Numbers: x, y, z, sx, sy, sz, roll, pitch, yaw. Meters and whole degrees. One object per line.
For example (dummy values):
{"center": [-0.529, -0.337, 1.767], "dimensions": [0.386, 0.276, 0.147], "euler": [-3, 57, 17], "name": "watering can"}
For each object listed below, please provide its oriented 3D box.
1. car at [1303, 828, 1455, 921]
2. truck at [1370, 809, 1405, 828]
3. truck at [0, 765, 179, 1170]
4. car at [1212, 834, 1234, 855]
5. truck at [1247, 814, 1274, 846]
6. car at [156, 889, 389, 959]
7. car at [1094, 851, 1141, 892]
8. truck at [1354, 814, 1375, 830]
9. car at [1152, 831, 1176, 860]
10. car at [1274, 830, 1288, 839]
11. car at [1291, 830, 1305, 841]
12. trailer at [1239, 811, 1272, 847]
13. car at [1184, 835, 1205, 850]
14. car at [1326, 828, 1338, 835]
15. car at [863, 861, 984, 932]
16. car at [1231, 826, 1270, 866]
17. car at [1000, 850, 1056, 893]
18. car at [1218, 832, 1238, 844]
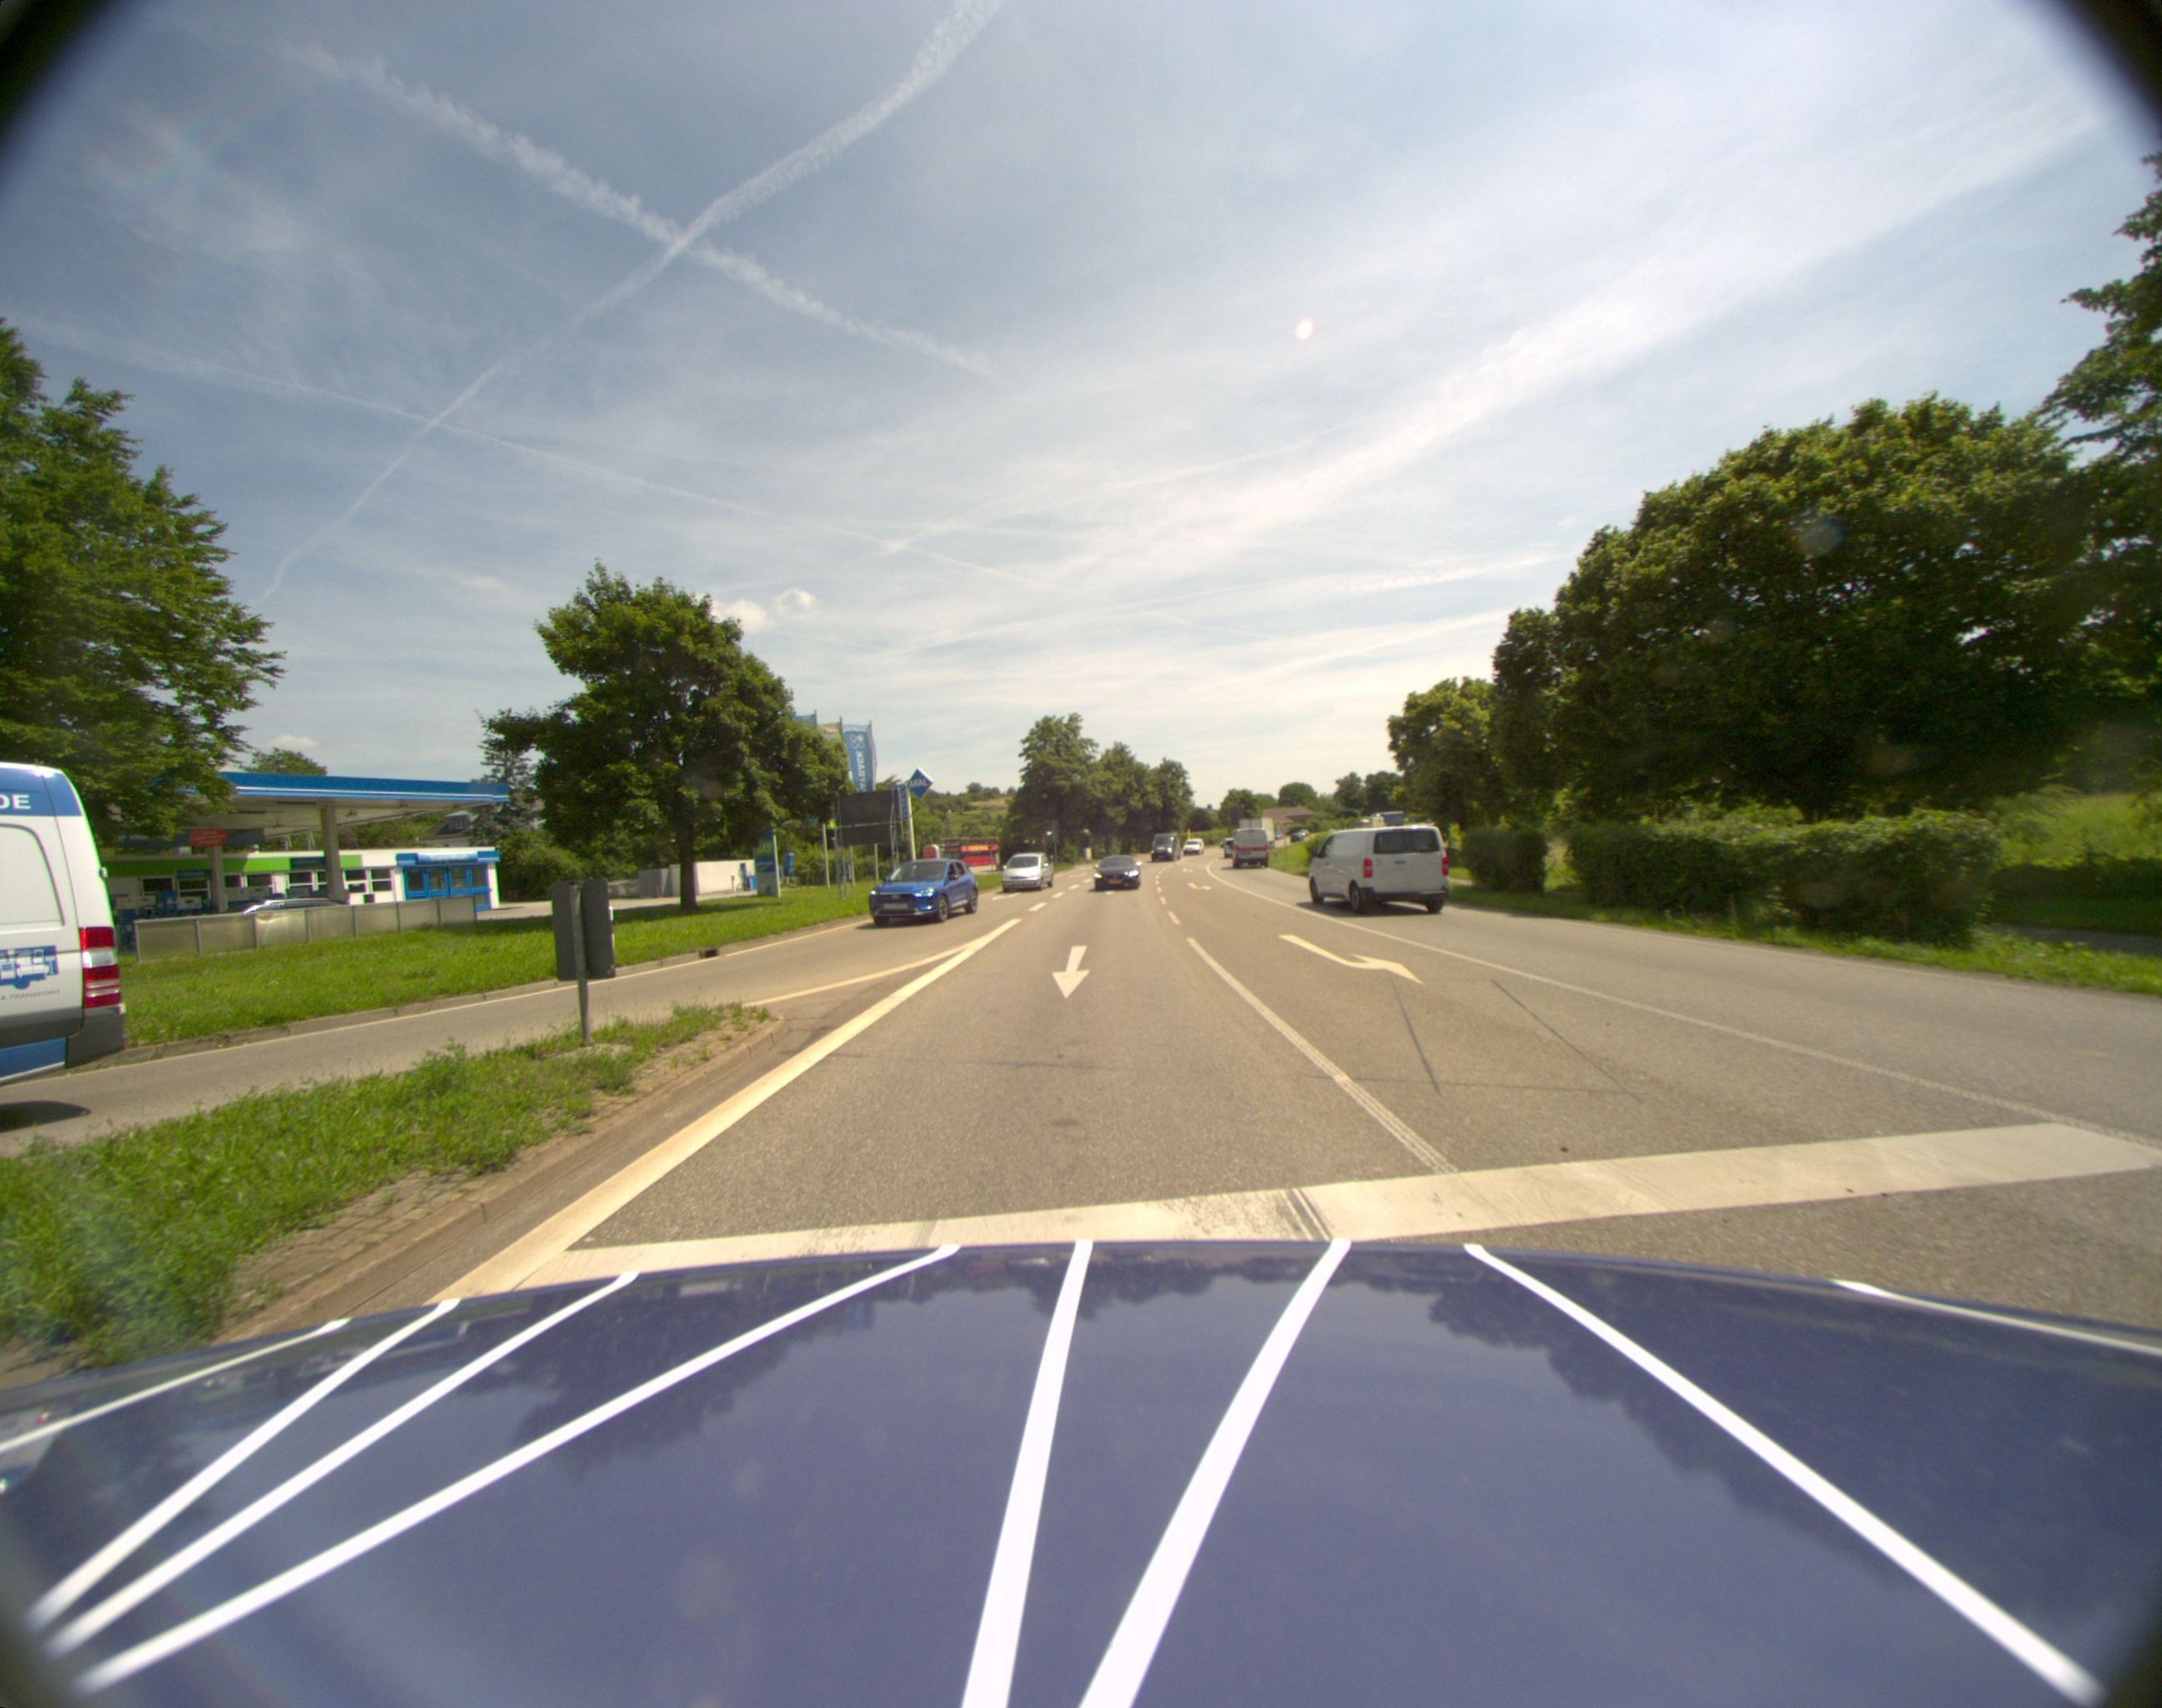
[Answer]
{"center": [6.886, 0.396, 18.192], "dimensions": [1.875, 1.875, 4.952], "euler": [-2, 1, 3], "name": "car"}
{"center": [83.559, -9.676, 206.602], "dimensions": [2.738, 4.583, 16.187], "euler": [-1, 3, 44], "name": "truck"}
{"center": [-9.241, 0.879, 3.616], "dimensions": [2.069, 2.720, 5.953], "euler": [-6, -2, 28], "name": "truck"}
{"center": [13.801, -0.907, 73.442], "dimensions": [1.876, 1.854, 5.145], "euler": [-2, 0, 12], "name": "car"}
{"center": [23.165, -3.058, 97.923], "dimensions": [2.781, 3.921, 5.712], "euler": [0, 2, 19], "name": "truck"}
{"center": [-25.562, 2.130, 24.260], "dimensions": [1.995, 1.612, 4.636], "euler": [-2, 2, 27], "name": "car"}
{"center": [1.504, 0.682, 32.015], "dimensions": [1.783, 1.484, 4.157], "euler": [-3, 1, 2], "name": "car"}
{"center": [66.771, -7.533, 178.960], "dimensions": [2.970, 3.550, 6.910], "euler": [-1, 3, 35], "name": "truck"}
{"center": [7.628, -0.838, 70.105], "dimensions": [1.980, 2.505, 4.157], "euler": [-3, 2, 3], "name": "car"}
{"center": [38.884, -3.751, 147.718], "dimensions": [1.806, 1.722, 4.007], "euler": [-3, 0, 26], "name": "car"}
{"center": [36.031, -3.097, 126.128], "dimensions": [1.617, 1.550, 4.006], "euler": [-2, 2, 27], "name": "car"}
{"center": [21.434, -2.986, 92.839], "dimensions": [2.781, 4.079, 11.673], "euler": [0, 1, 18], "name": "trailer"}
{"center": [12.912, -1.344, 86.566], "dimensions": [1.781, 1.484, 4.161], "euler": [-2, 2, 16], "name": "car"}
{"center": [51.608, -4.612, 156.439], "dimensions": [1.617, 1.454, 3.476], "euler": [-2, 2, 31], "name": "car"}
{"center": [-4.174, 1.076, 20.965], "dimensions": [1.782, 1.549, 4.390], "euler": [-3, 1, 9], "name": "car"}
{"center": [11.046, -0.492, 49.857], "dimensions": [2.055, 2.438, 5.271], "euler": [-1, 0, 8], "name": "car"}
{"center": [-2.385, 0.765, 35.330], "dimensions": [1.865, 1.682, 4.526], "euler": [-3, 2, 4], "name": "car"}
{"center": [21.990, -2.343, 113.376], "dimensions": [1.806, 1.722, 4.007], "euler": [-3, 0, 26], "name": "car"}
